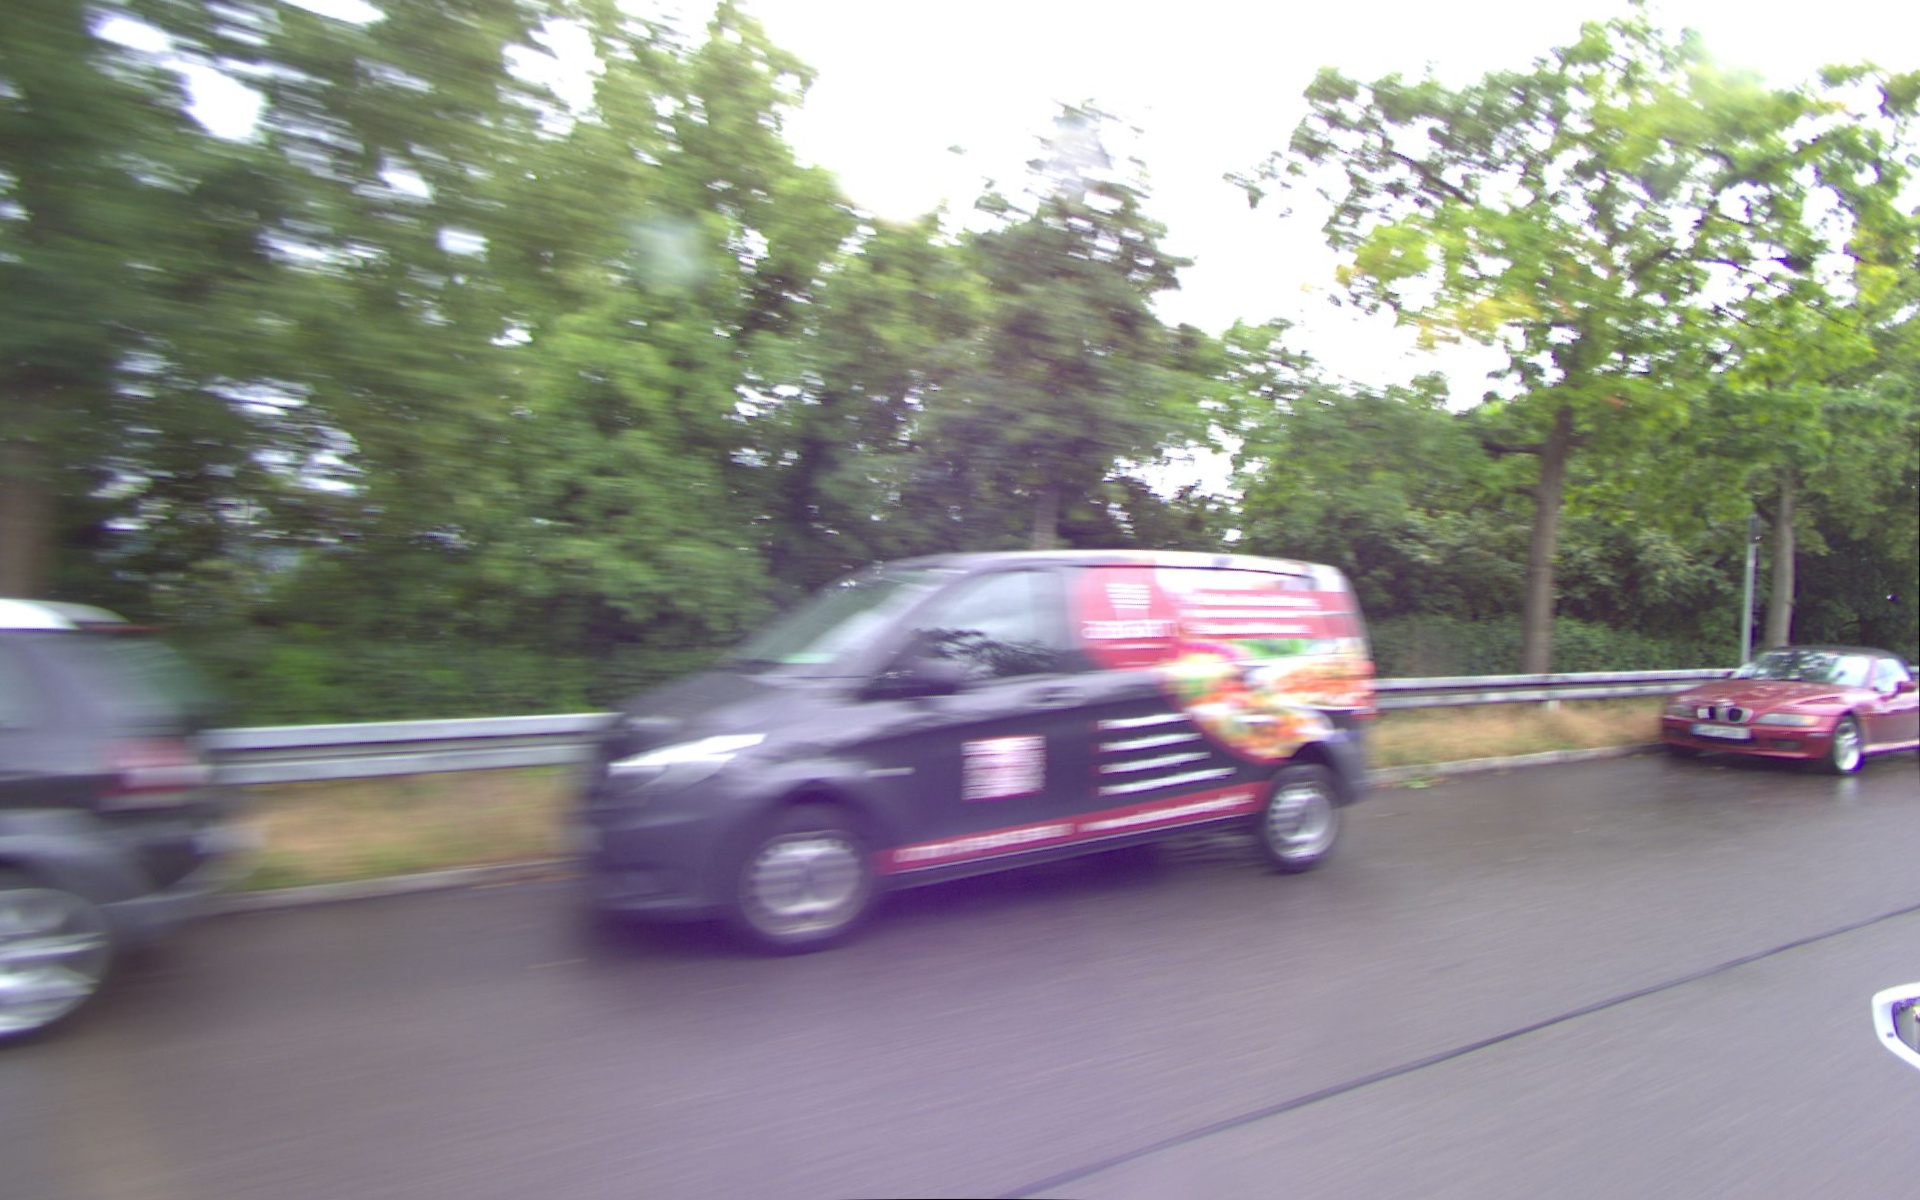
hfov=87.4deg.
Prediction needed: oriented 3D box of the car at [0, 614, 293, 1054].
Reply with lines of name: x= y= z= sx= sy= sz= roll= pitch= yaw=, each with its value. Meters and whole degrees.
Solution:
car: x=-4.855 y=0.755 z=3.378 sx=4.207 sy=1.456 sz=1.789 roll=2 pitch=-2 yaw=-31

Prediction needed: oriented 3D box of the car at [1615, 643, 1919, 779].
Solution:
car: x=9.761 y=1.181 z=11.660 sx=4.271 sy=1.314 sz=1.783 roll=2 pitch=-2 yaw=-28

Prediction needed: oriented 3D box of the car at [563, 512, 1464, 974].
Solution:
car: x=0.517 y=0.666 z=6.234 sx=5.315 sy=1.843 sz=2.075 roll=2 pitch=-2 yaw=-29
